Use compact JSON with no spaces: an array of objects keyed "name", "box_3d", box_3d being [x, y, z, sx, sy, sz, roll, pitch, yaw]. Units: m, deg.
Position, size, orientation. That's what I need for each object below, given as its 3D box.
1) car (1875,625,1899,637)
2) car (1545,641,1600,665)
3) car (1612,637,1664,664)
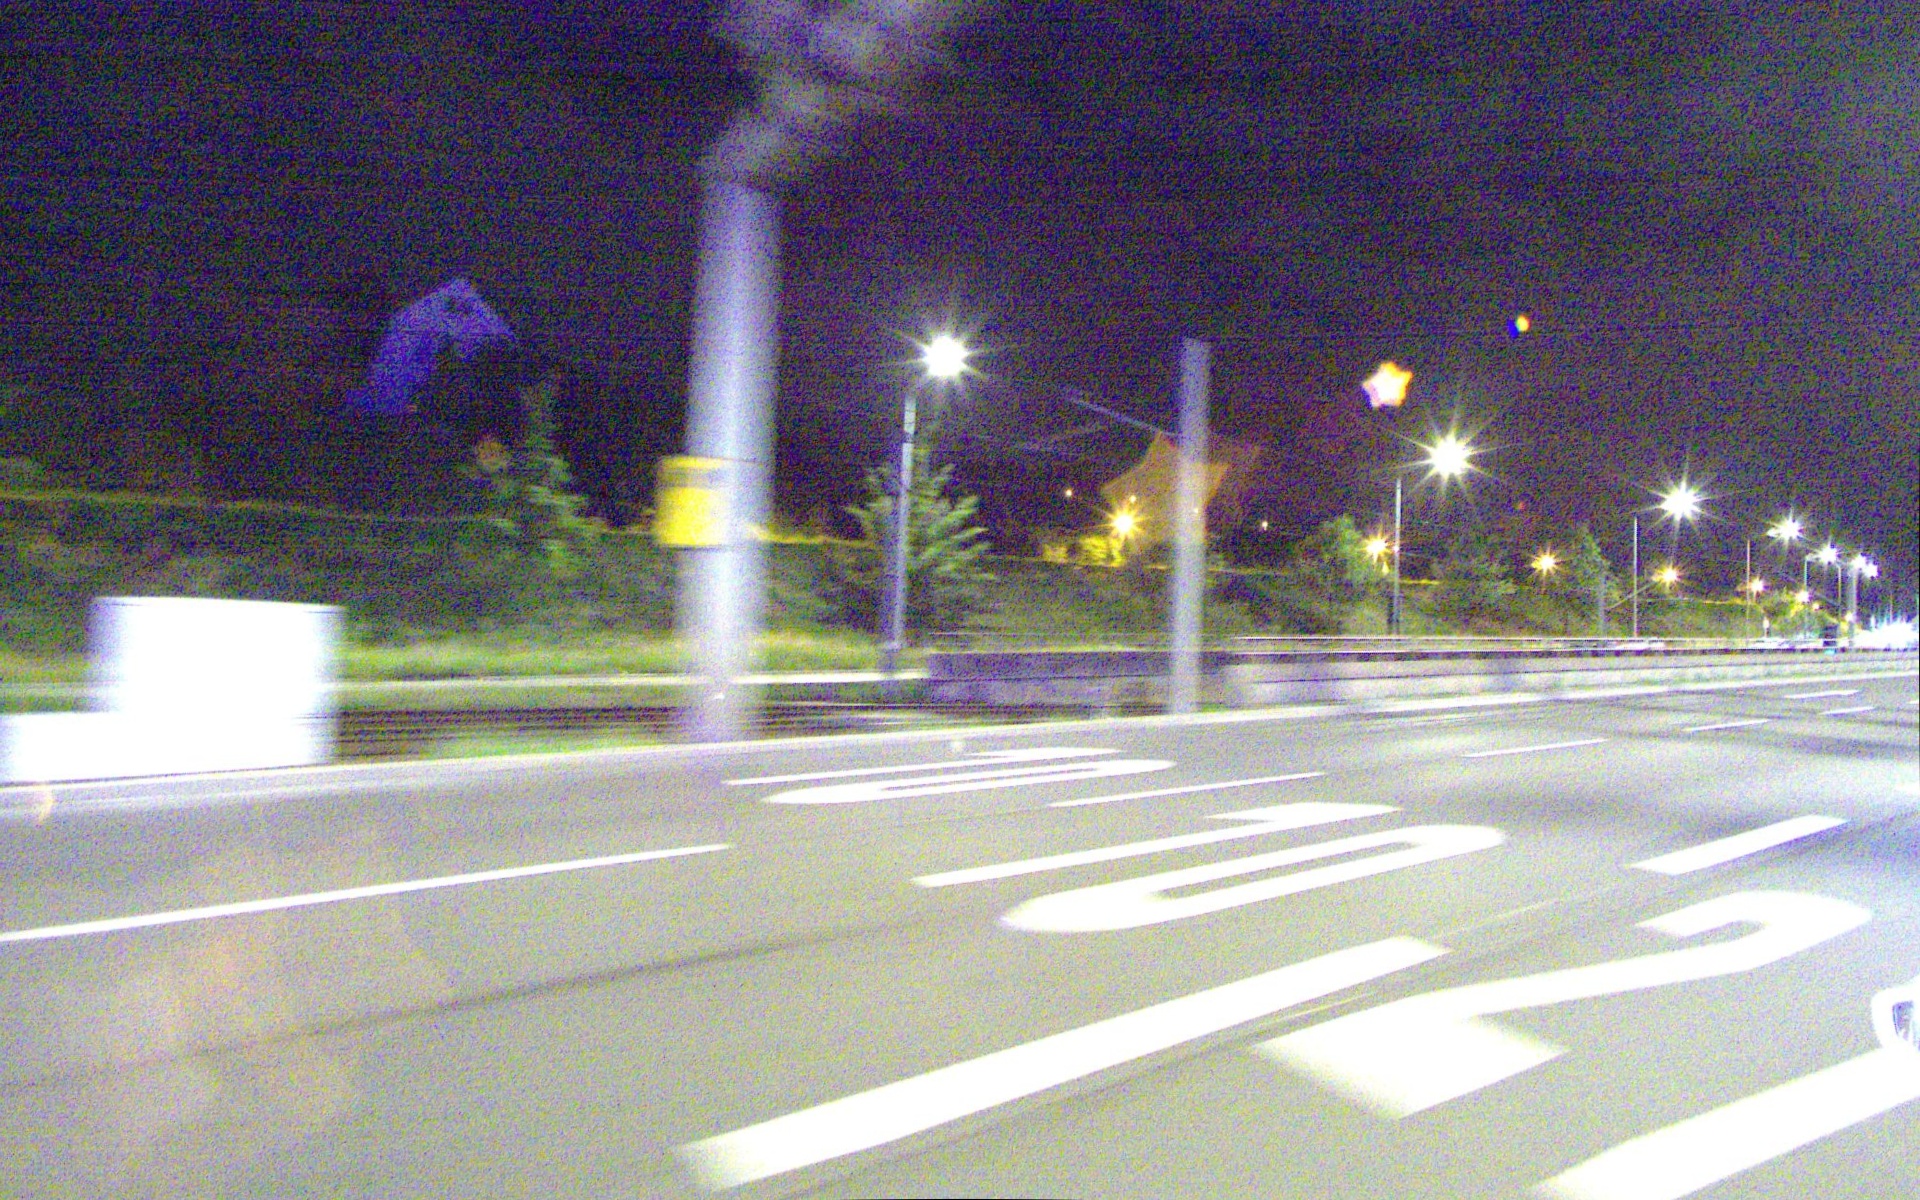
[{"name":"car","box_3d":[131.389,4.446,142.363,3.642,1.500,1.615,4,-1,-34]},{"name":"car","box_3d":[36.529,3.165,59.872,3.356,1.286,1.518,4,-1,-34]},{"name":"car","box_3d":[48.132,3.602,71.289,3.963,1.707,1.818,4,-1,-37]}]
